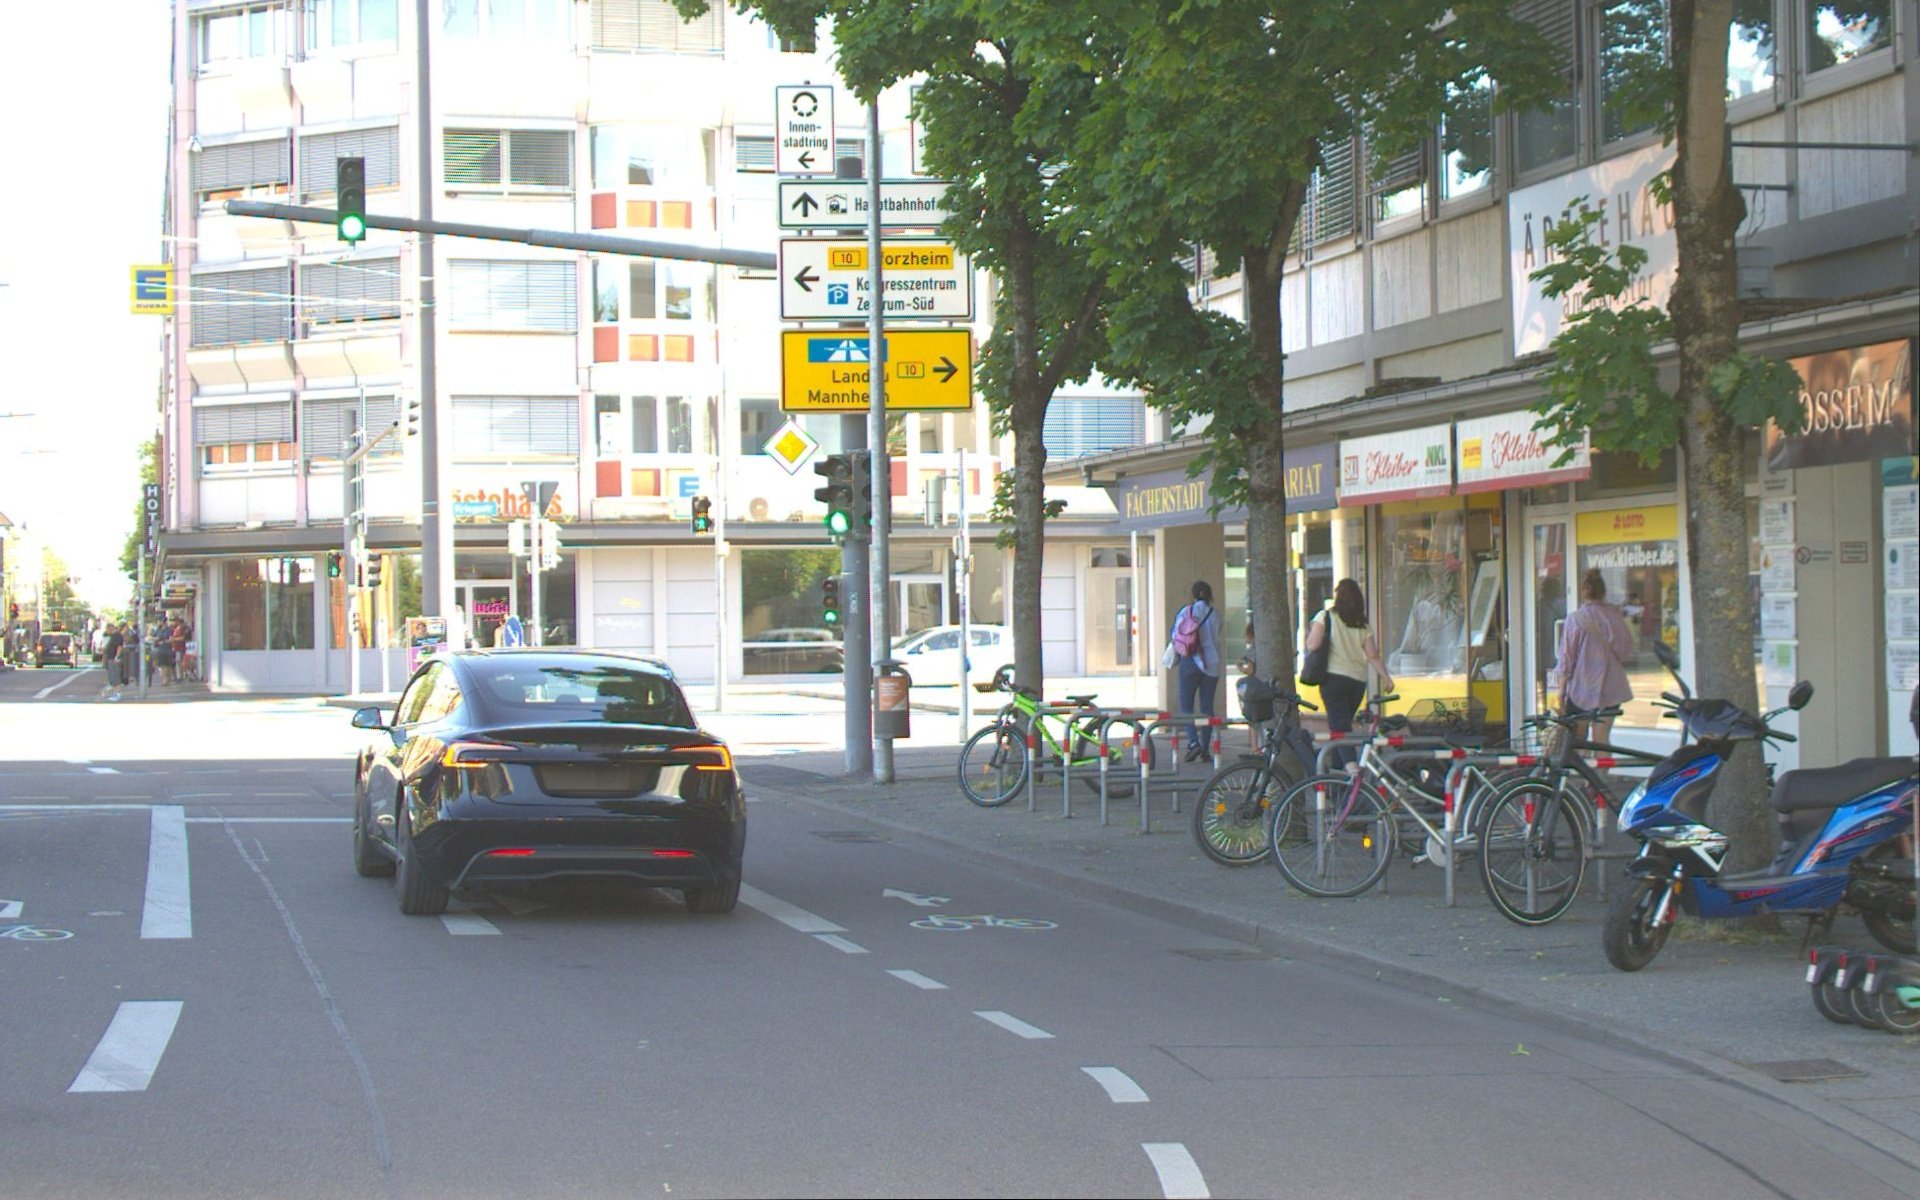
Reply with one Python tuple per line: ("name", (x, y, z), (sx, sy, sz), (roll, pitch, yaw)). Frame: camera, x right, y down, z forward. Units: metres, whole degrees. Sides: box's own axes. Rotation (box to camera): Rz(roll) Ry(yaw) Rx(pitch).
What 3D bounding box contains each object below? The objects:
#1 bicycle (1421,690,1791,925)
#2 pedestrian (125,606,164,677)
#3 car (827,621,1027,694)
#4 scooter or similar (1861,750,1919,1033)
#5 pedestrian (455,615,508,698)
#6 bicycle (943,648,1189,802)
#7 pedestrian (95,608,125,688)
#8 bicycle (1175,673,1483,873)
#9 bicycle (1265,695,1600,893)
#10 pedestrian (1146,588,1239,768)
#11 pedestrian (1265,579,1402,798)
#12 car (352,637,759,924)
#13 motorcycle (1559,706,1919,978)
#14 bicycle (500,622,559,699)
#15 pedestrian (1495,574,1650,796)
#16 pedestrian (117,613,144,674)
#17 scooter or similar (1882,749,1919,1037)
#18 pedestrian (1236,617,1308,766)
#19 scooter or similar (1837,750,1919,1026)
("bicycle", (3.229, 1.016, 17.134), (1.849, 1.052, 0.399), (-2, 0, -22))
("pedestrian", (-20.265, 1.029, 85.413), (0.914, 1.749, 0.839), (0, -1, -12))
("car", (-0.707, 1.223, 72.394), (3.839, 1.427, 1.804), (-1, -2, -16))
("scooter or similar", (3.864, 1.075, 12.849), (0.956, 1.036, 0.160), (-1, 0, -8))
("pedestrian", (-9.183, 1.072, 65.933), (0.779, 1.571, 0.868), (0, 1, -26))
("bicycle", (0.854, 1.006, 27.856), (1.889, 1.153, 0.480), (-2, -1, -10))
("pedestrian", (-19.117, 1.083, 77.321), (0.626, 1.776, 0.918), (0, -1, -12))
("bicycle", (2.253, 1.041, 20.977), (1.809, 1.148, 0.435), (-1, -1, -15))
("bicycle", (2.610, 1.065, 19.034), (1.767, 1.053, 0.458), (0, -1, -6))
("pedestrian", (2.234, 0.748, 33.173), (0.843, 1.715, 0.880), (0, -1, 1))
("pedestrian", (2.948, 0.693, 27.209), (0.842, 1.701, 0.880), (0, -1, -11))
("car", (-2.407, 0.955, 19.612), (1.790, 1.446, 3.941), (1, -1, -14))
("motorcycle", (3.551, 1.035, 14.971), (1.786, 1.126, 0.504), (0, -1, -12))
("bicycle", (-8.305, 1.154, 66.236), (0.582, 1.458, 1.686), (-1, 0, -26))
("pedestrian", (4.508, 0.619, 25.345), (0.842, 1.597, 0.880), (0, -1, -11))
("pedestrian", (-21.301, 1.122, 88.257), (0.471, 1.557, 0.544), (0, -1, -41))
("scooter or similar", (3.894, 1.063, 12.653), (0.963, 1.040, 0.160), (-1, 0, -8))
("pedestrian", (2.995, 0.879, 33.059), (0.645, 1.417, 0.621), (0, -1, 2))
("scooter or similar", (3.829, 1.080, 13.046), (0.963, 1.023, 0.160), (-1, 0, -8))
